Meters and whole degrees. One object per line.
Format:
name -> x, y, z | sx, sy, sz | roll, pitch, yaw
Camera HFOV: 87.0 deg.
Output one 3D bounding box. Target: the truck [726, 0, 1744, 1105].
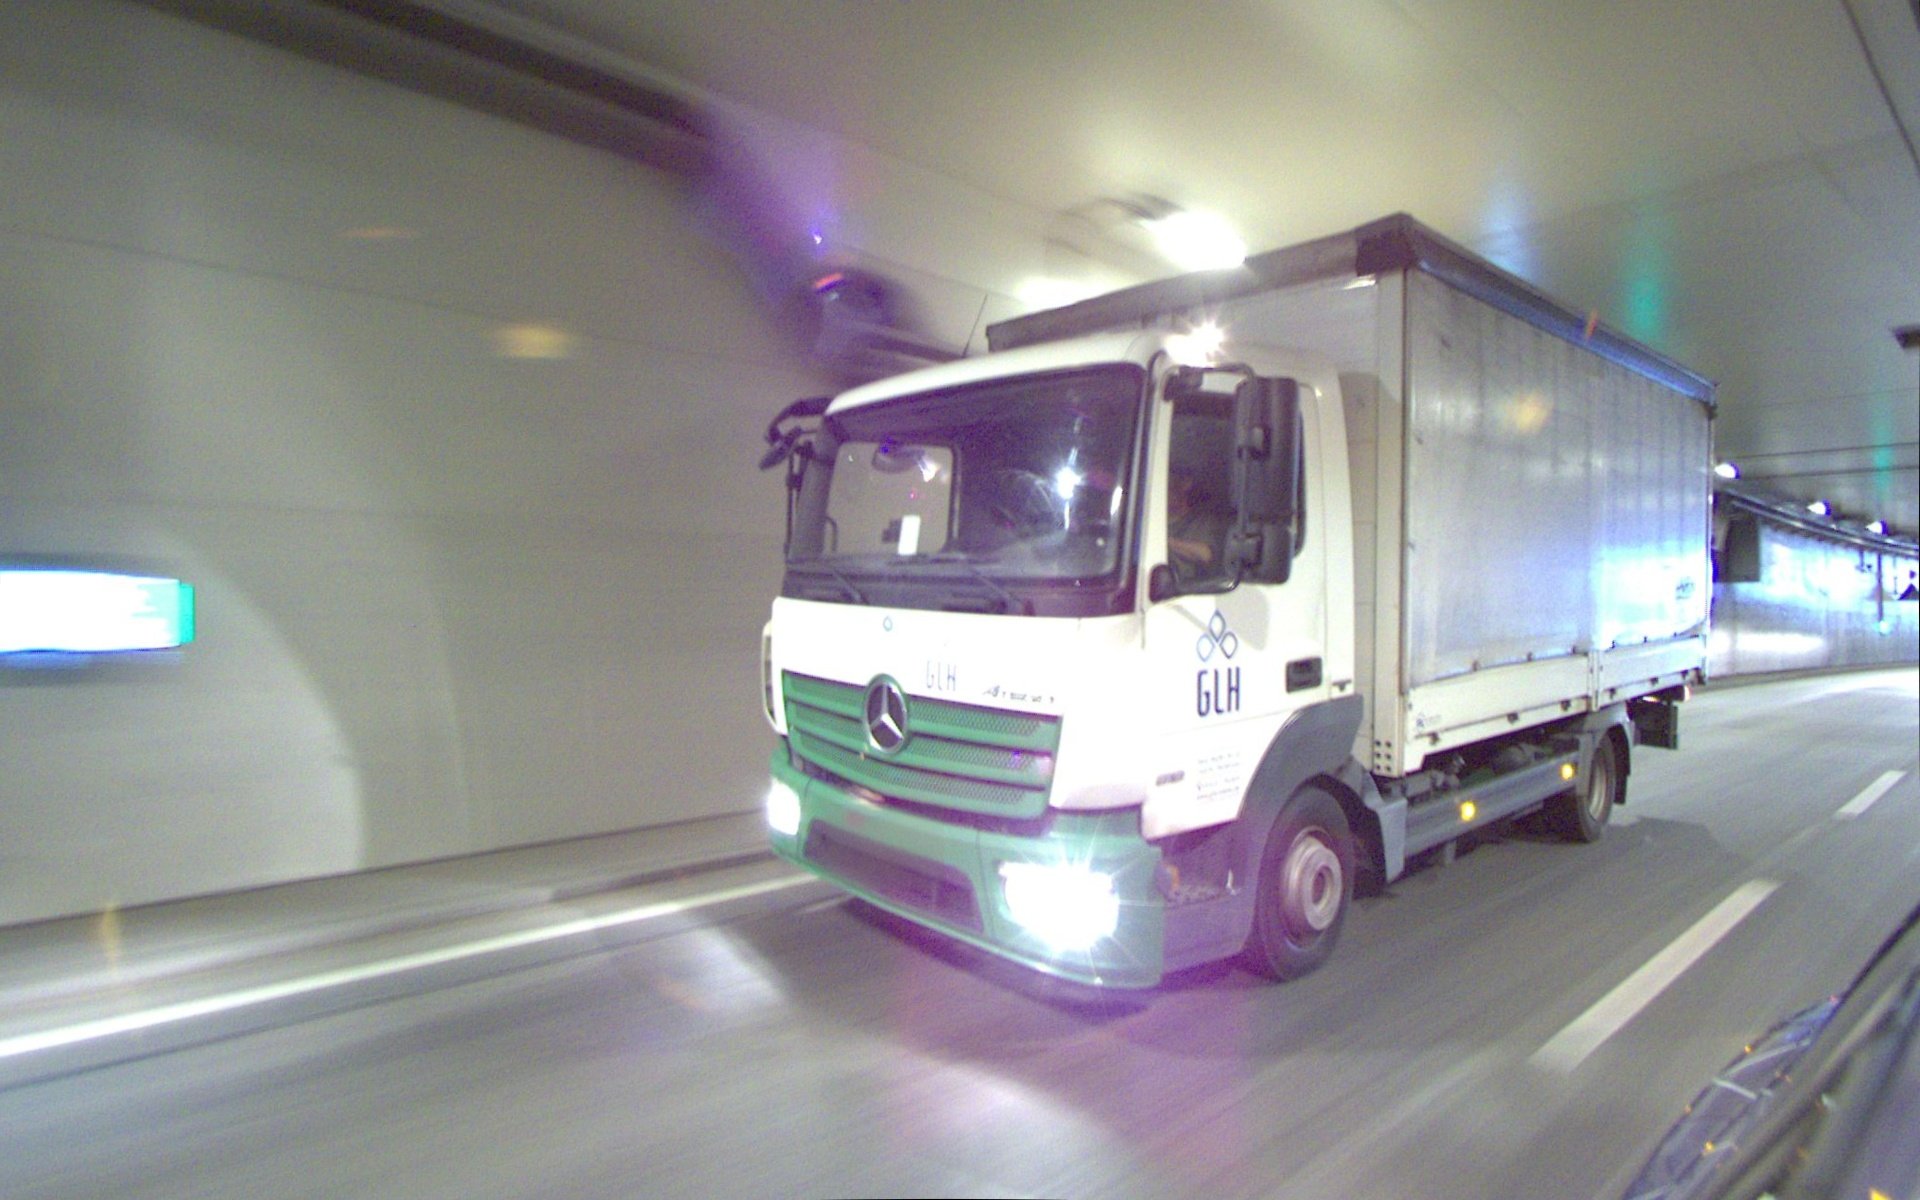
truck -> 2.393, -0.152, 6.231 | 7.119, 3.222, 2.557 | 1, -1, -41
